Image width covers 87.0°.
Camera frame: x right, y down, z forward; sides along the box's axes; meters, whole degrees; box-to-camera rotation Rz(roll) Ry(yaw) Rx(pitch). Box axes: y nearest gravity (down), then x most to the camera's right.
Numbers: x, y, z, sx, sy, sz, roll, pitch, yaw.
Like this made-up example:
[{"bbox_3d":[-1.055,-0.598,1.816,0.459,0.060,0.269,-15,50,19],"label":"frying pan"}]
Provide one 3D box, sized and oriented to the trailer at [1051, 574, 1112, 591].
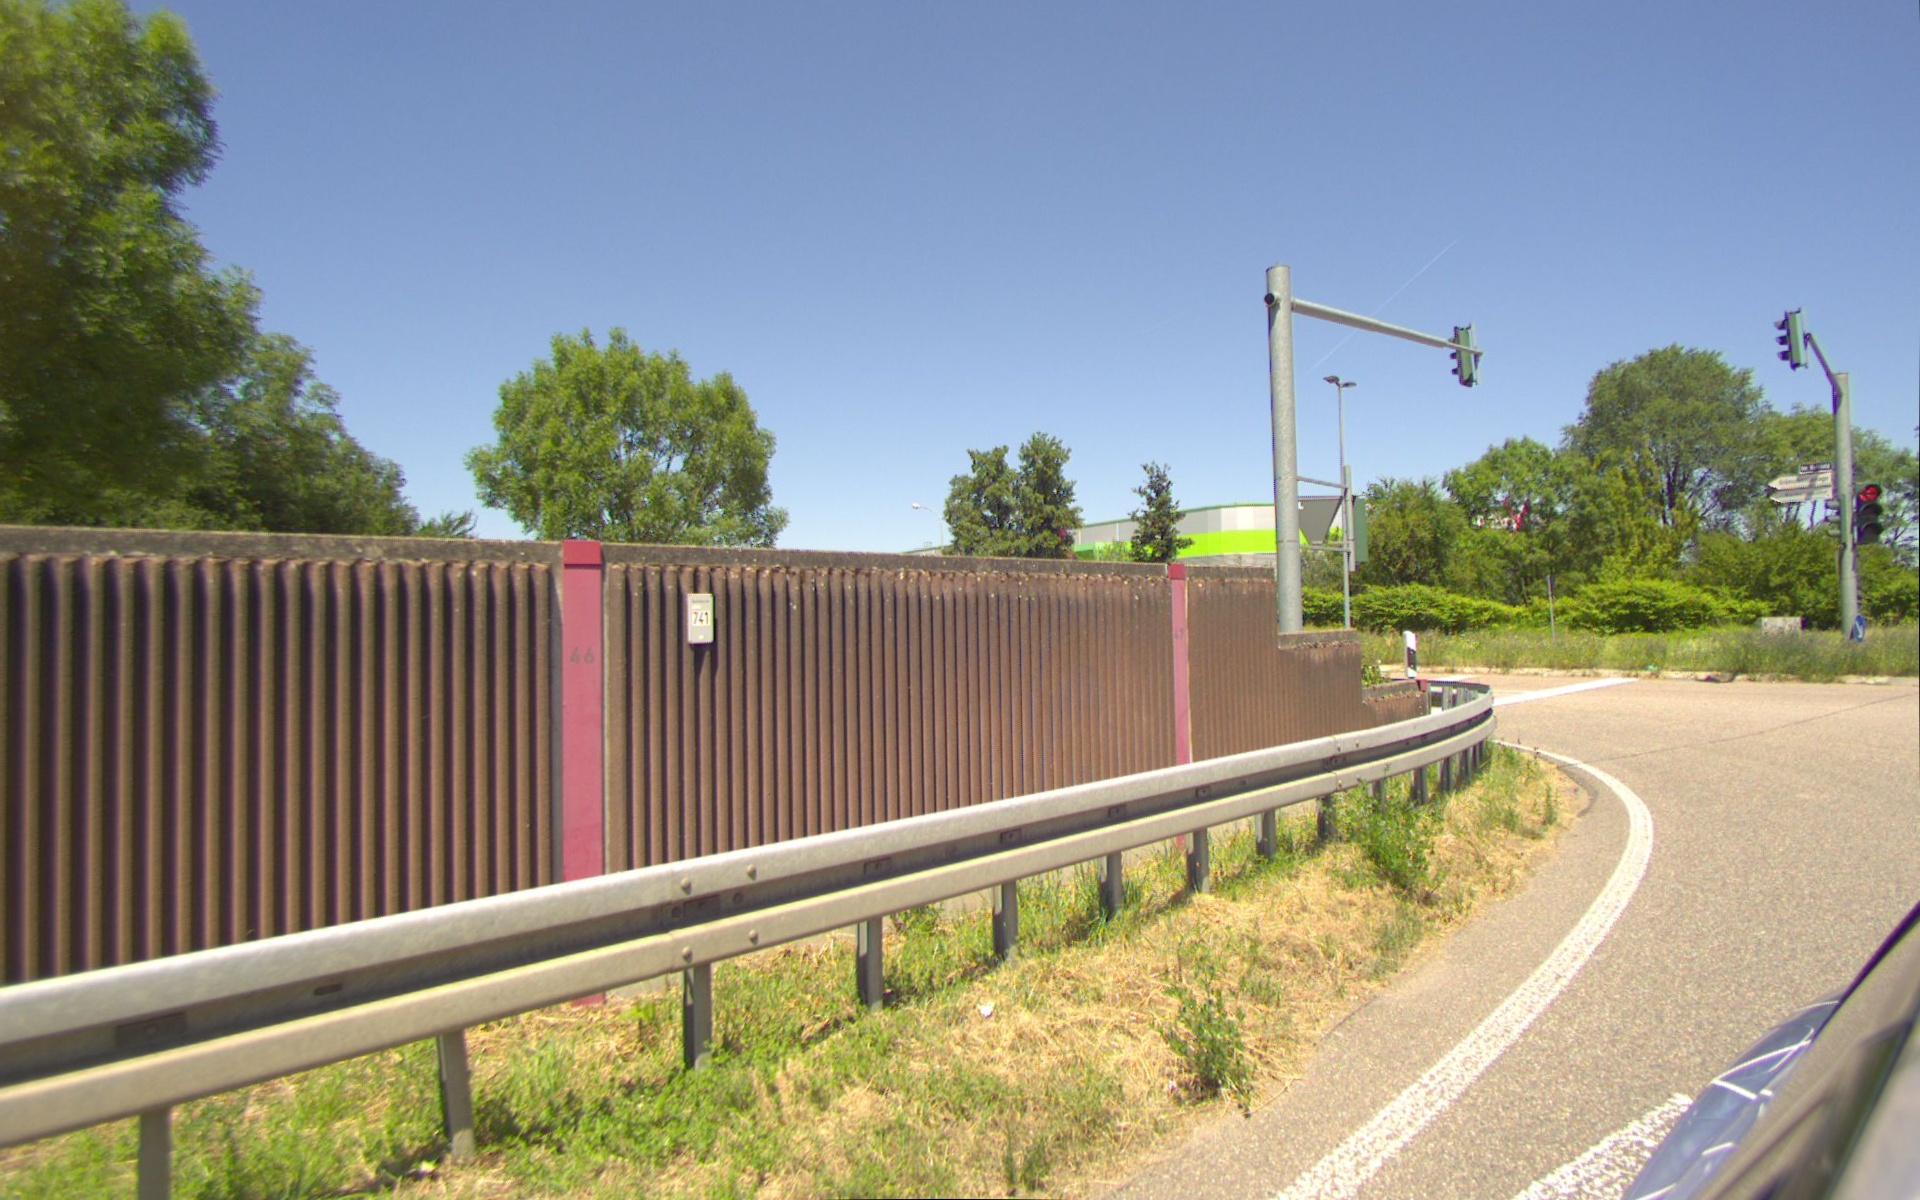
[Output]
[{"bbox_3d":[5.958,-0.851,49.409,2.809,0.748,1.559,-1,0,14],"label":"trailer"}]
